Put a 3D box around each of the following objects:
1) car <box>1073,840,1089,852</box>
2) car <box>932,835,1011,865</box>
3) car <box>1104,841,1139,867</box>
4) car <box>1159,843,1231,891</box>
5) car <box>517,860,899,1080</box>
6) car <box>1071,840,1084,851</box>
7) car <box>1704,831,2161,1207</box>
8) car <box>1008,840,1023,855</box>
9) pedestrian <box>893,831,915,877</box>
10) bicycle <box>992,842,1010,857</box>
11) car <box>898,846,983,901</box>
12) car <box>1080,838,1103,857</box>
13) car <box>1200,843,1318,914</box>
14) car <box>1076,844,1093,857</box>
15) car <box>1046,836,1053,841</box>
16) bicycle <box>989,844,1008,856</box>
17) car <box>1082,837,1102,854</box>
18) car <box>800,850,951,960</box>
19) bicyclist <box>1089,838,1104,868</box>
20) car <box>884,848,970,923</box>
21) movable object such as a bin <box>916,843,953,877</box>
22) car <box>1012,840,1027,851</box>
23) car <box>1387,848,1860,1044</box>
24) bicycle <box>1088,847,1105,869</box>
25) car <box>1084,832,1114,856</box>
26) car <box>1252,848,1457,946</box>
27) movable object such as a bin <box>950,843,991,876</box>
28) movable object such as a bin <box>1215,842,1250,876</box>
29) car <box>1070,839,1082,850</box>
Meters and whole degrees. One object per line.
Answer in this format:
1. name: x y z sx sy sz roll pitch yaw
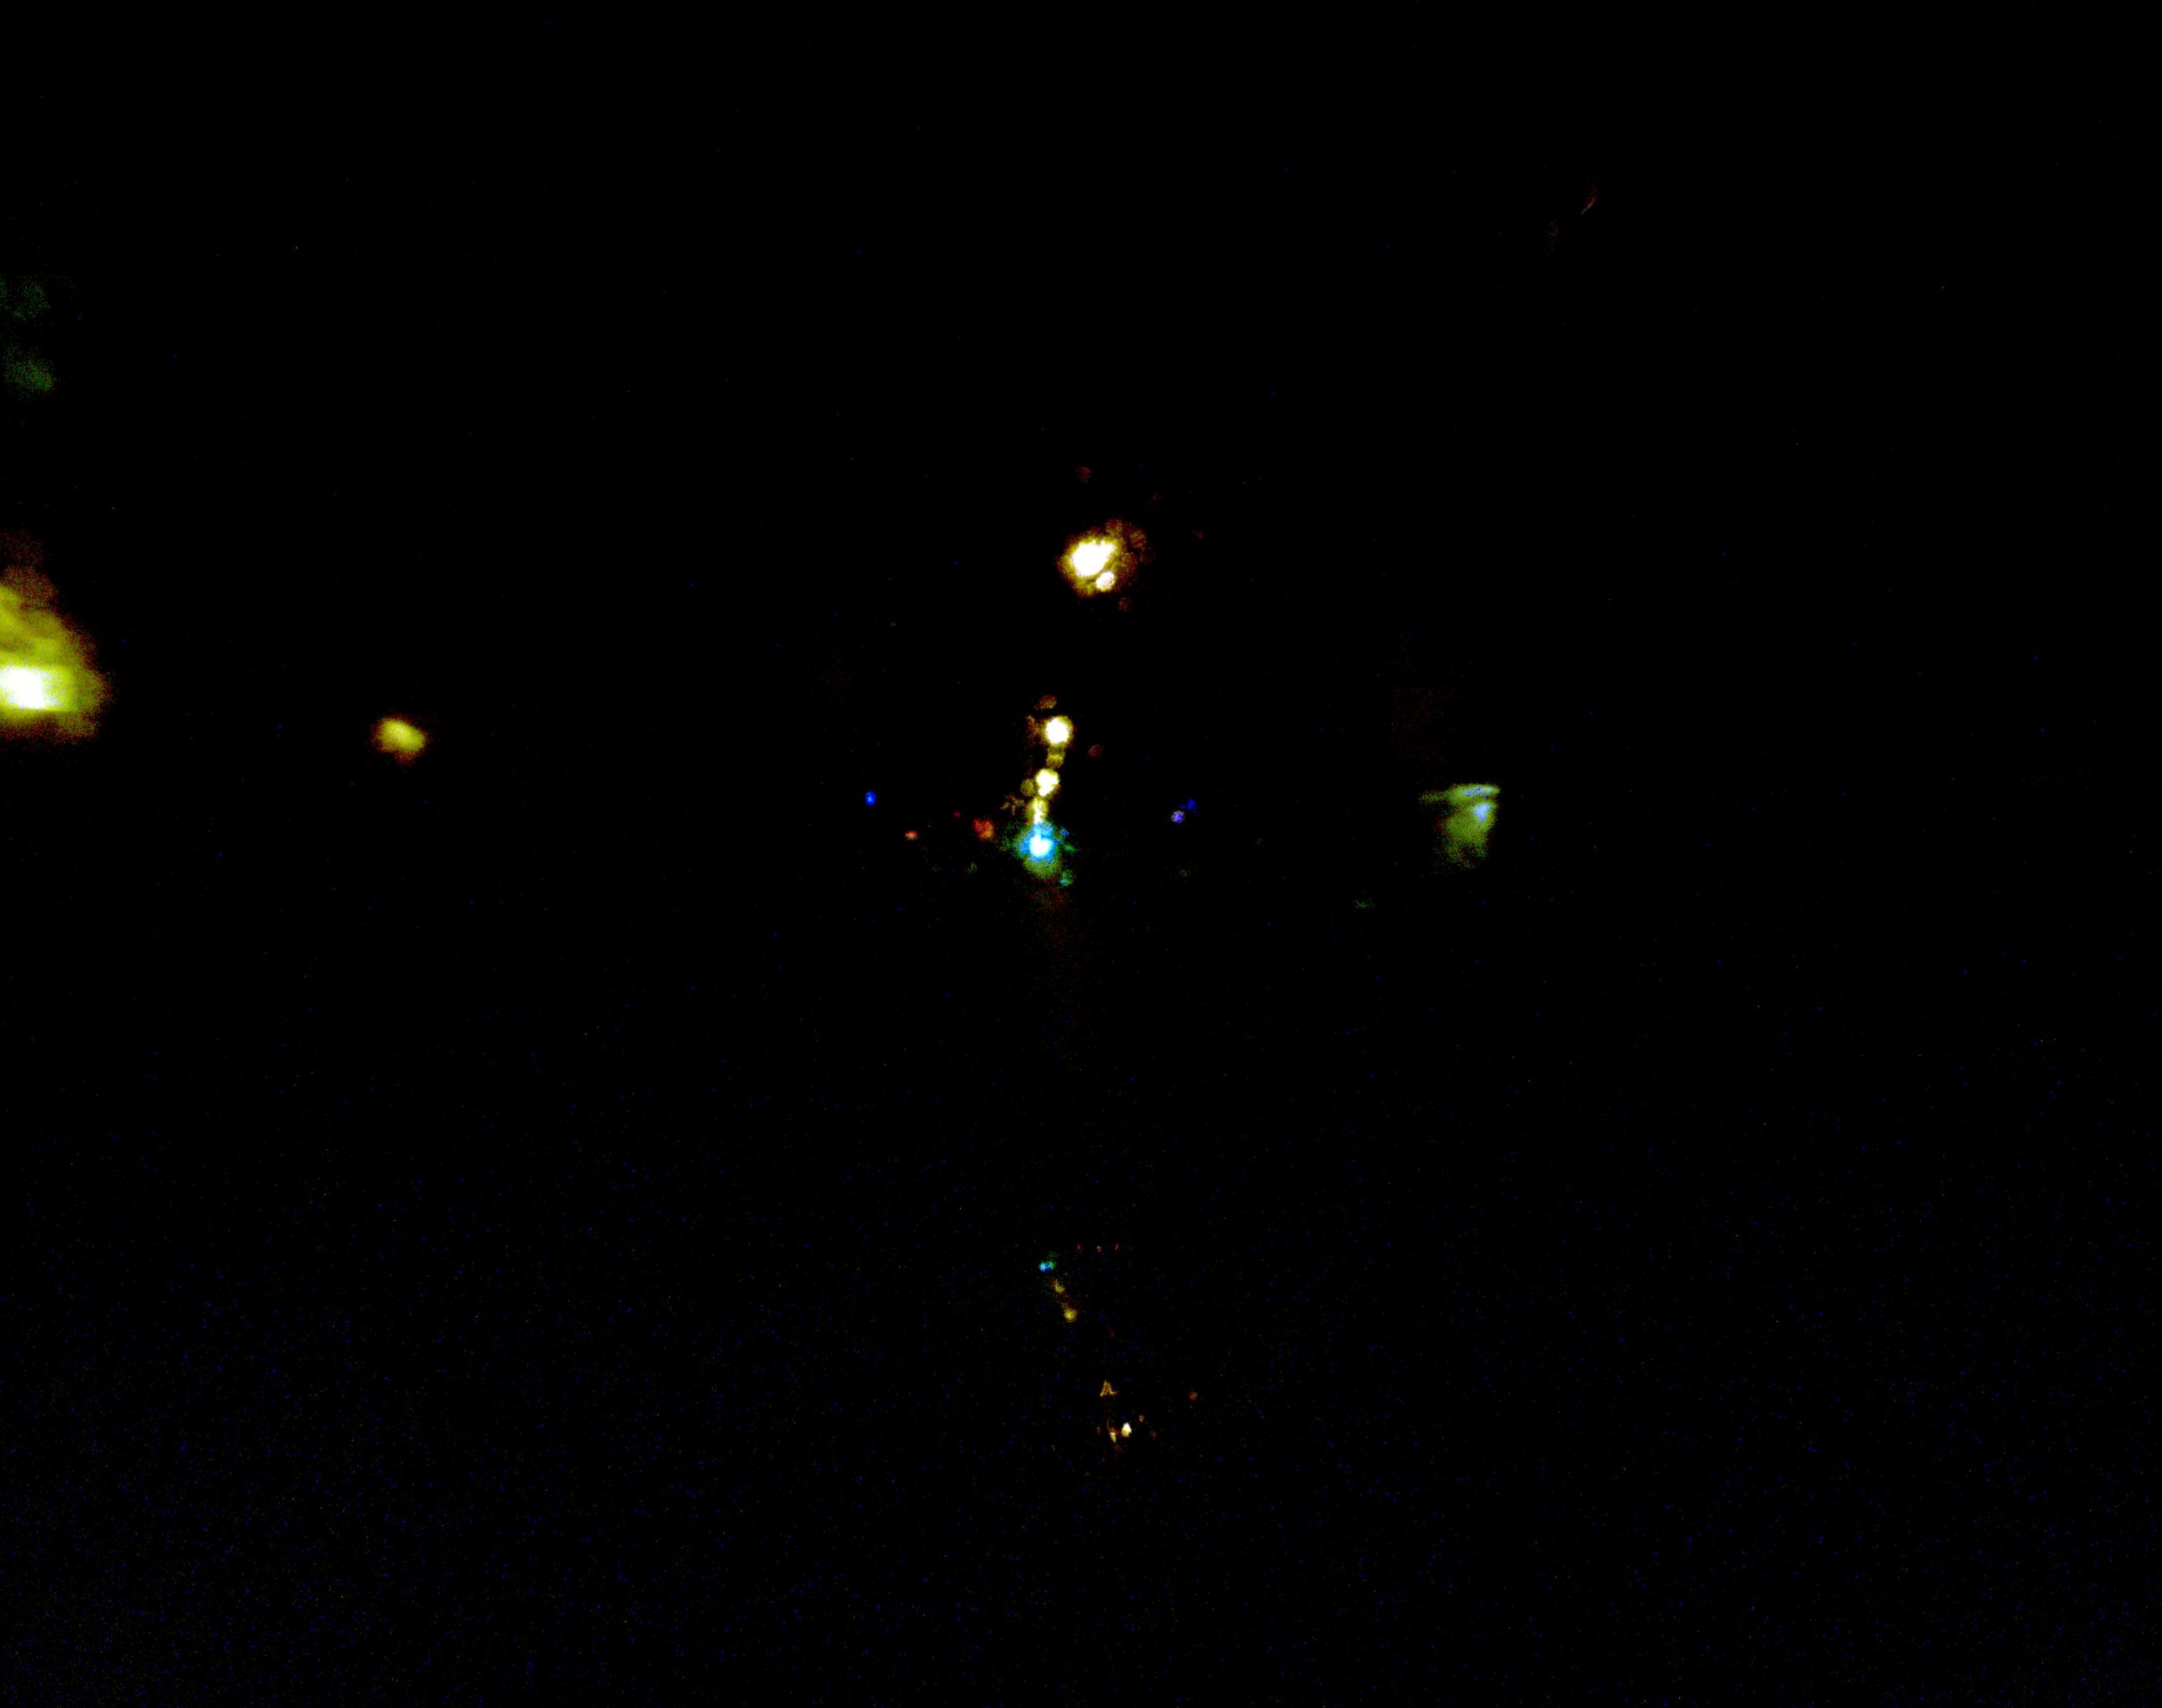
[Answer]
1. car: -0.045 -0.996 94.226 1.731 1.445 4.270 0 1 -3
2. car: -6.530 -0.265 45.674 4.525 1.522 1.779 3 1 -4
3. car: 2.553 -0.056 48.852 1.772 1.474 4.769 -3 1 -2
4. car: 3.821 0.386 25.966 1.677 1.483 3.719 -1 1 -3
5. car: -3.054 0.819 7.290 1.923 1.404 3.997 0 1 -4
6. car: -0.450 -1.135 99.850 1.532 1.445 3.382 0 1 -3
7. car: 5.388 0.682 3.532 1.750 1.579 3.763 0 1 -3
8. car: -7.939 -0.775 92.694 1.677 1.712 3.854 1 1 -3
9. pedestrian: -7.055 0.005 30.290 0.704 1.778 0.624 2 1 0
10. bicycle: -7.452 -0.440 70.930 1.532 1.196 0.366 6 2 -1
11. car: -4.140 0.518 23.063 1.999 1.456 4.414 0 1 -3
12. car: 1.009 -0.700 75.717 1.908 1.819 4.826 0 1 -3
13. car: 4.311 0.515 19.103 1.779 1.563 4.132 0 1 -3
14. car: 0.391 -0.435 87.787 1.731 1.384 4.552 0 1 -3
15. car: -9.143 -4.416 222.187 1.877 1.386 4.073 0 0 0
16. bicycle: -7.192 -0.355 66.186 1.533 0.947 0.366 5 2 -7
17. car: 0.969 -0.752 67.407 1.573 1.451 3.718 0 1 -3
18. car: -3.207 0.705 12.626 1.694 1.490 3.889 0 1 -4
19. bicyclist: 0.803 -0.065 39.602 0.720 1.547 0.895 1 2 -4
20. car: -3.489 0.643 17.805 1.695 1.490 3.888 0 1 -7
21. movable object such as a bin: -6.290 0.263 32.684 1.311 1.421 1.050 0 2 6
22. car: -8.402 -1.216 104.090 1.846 1.498 4.160 1 1 -3
23. car: 5.177 0.708 8.176 1.838 1.472 4.304 0 1 -3
24. bicycle: 0.792 0.195 39.681 0.729 1.066 2.347 1 1 -3
25. car: 1.418 -0.816 60.765 2.001 1.819 5.204 0 1 -3
26. car: 4.572 0.624 13.527 1.827 1.382 4.423 0 1 -3
27. movable object such as a bin: -4.828 0.219 33.271 1.344 1.421 1.197 -1 2 -40
28. movable object such as a bin: 6.599 0.190 33.130 1.104 1.446 1.378 1 2 -5
29. car: -0.684 -1.267 106.025 1.697 1.470 3.383 0 0 1
